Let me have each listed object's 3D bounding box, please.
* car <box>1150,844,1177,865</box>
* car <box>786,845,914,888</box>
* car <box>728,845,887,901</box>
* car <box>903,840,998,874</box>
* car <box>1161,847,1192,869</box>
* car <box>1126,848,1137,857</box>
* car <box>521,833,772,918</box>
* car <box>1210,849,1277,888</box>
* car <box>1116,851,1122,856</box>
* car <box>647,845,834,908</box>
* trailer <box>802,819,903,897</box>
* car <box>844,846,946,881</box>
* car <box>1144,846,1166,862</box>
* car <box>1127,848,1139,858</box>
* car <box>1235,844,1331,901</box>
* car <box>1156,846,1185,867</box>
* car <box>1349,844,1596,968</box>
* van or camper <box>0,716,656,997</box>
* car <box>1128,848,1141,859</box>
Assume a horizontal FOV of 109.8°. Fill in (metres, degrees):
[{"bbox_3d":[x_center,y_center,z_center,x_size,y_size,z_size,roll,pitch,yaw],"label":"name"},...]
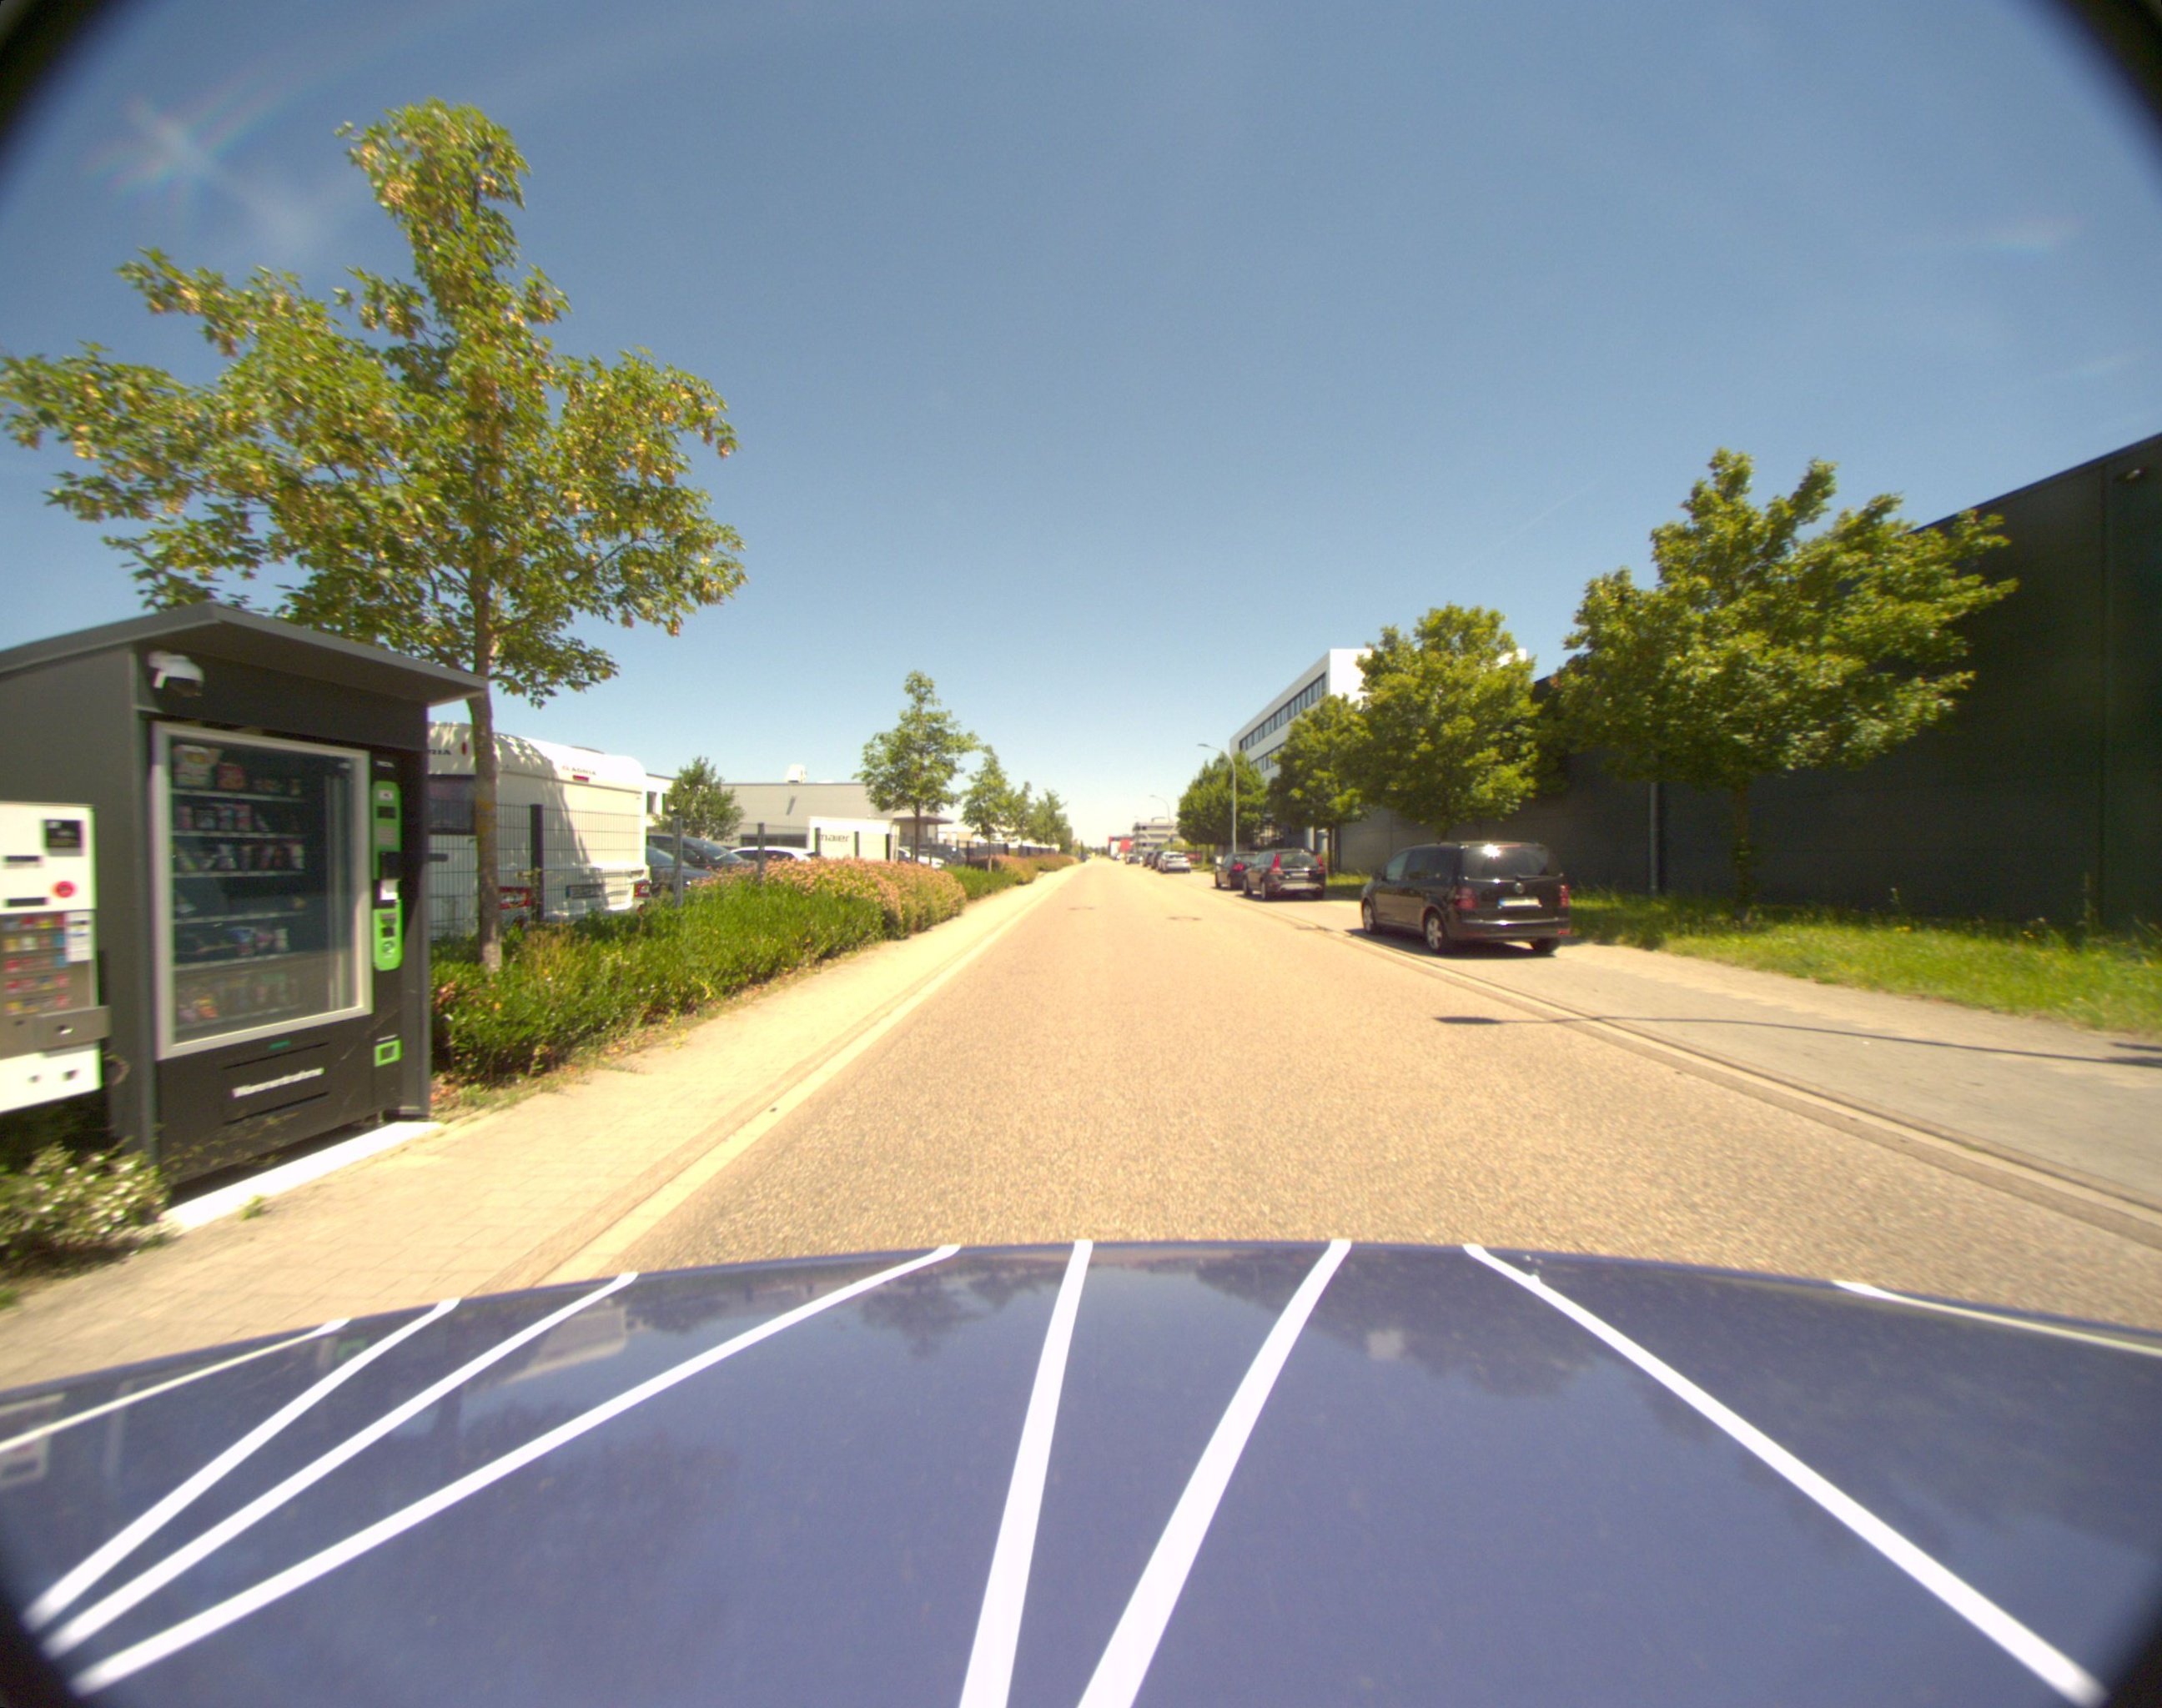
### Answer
[{"bbox_3d":[7.034,0.020,65.184,1.775,1.614,4.582,-4,1,1],"label":"car"},{"bbox_3d":[-8.294,0.429,27.553,4.051,1.495,1.918,0,1,1],"label":"car"},{"bbox_3d":[-7.759,0.517,21.813,3.900,1.467,1.806,1,1,1],"label":"car"},{"bbox_3d":[-7.535,0.174,44.216,5.126,1.863,1.902,1,1,1],"label":"car"},{"bbox_3d":[6.645,0.251,53.193,1.775,1.423,3.940,-1,1,1],"label":"car"},{"bbox_3d":[8.864,-0.257,133.449,1.678,1.521,3.909,-1,1,1],"label":"car"},{"bbox_3d":[-9.034,0.418,16.050,4.263,1.611,1.808,1,1,1],"label":"car"},{"bbox_3d":[6.441,0.534,30.516,1.775,1.423,4.200,-1,1,0],"label":"car"},{"bbox_3d":[11.292,-0.250,228.622,1.694,1.481,3.660,-3,1,2],"label":"car"},{"bbox_3d":[-8.400,0.533,18.990,3.850,1.432,1.805,1,1,-2],"label":"car"},{"bbox_3d":[-7.325,0.124,24.522,2.830,2.389,1.419,1,1,-3],"label":"trailer"},{"bbox_3d":[-8.099,0.404,33.333,3.997,1.513,1.822,0,1,1],"label":"car"},{"bbox_3d":[7.580,0.006,78.104,1.775,1.578,4.481,-1,0,-1],"label":"car"},{"bbox_3d":[8.632,-0.159,126.916,1.678,1.521,3.757,-6,1,1],"label":"car"},{"bbox_3d":[6.346,0.514,24.427,1.775,1.602,4.851,-1,1,0],"label":"car"},{"bbox_3d":[6.821,0.192,58.325,1.775,1.423,4.201,-4,1,1],"label":"car"},{"bbox_3d":[5.941,0.670,12.190,1.775,1.602,4.247,-1,1,0],"label":"car"},{"bbox_3d":[-8.776,0.012,8.287,6.774,2.570,2.635,0,1,1],"label":"van or camper"},{"bbox_3d":[8.196,-0.049,117.697,1.678,1.442,4.069,-6,1,1],"label":"car"}]
